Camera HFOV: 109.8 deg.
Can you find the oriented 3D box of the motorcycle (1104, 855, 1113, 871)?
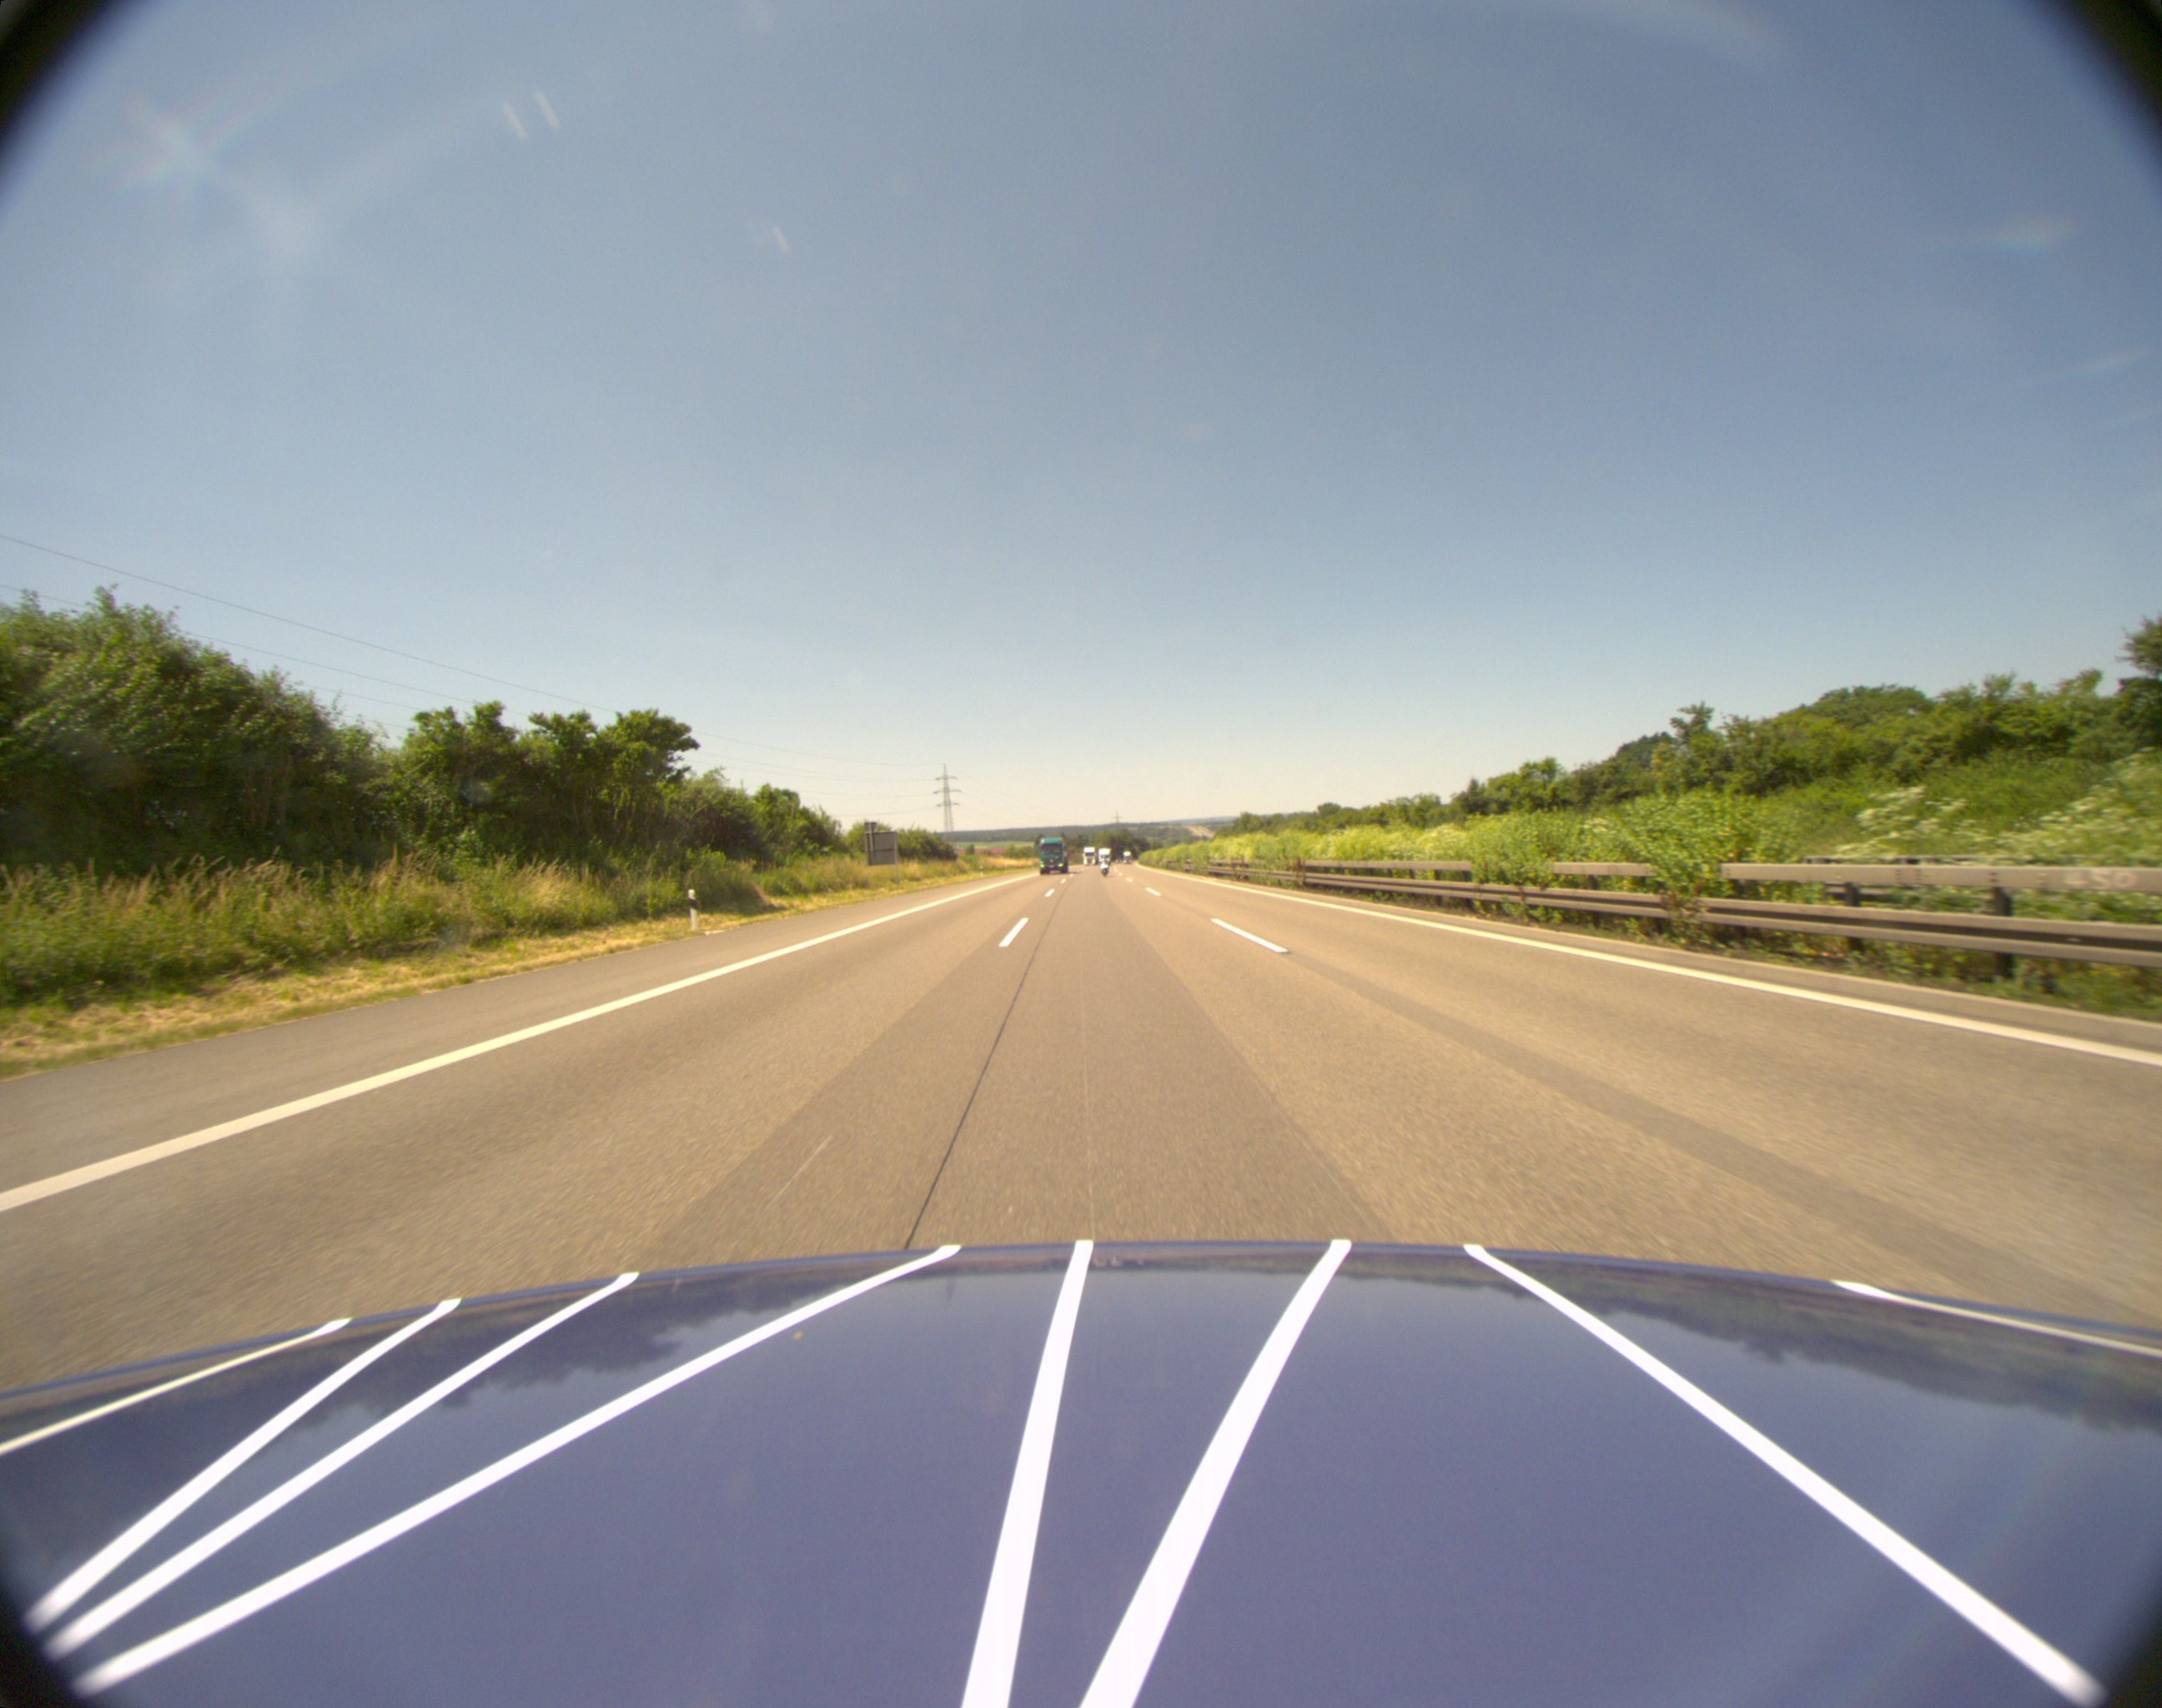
[{"bbox_3d":[2.227,0.710,61.318,0.631,1.279,2.313,-2,0,3],"label":"motorcycle"}]

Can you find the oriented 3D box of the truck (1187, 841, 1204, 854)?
[{"bbox_3d":[30.737,-1.682,205.247,2.680,3.497,17.042,-2,0,3],"label":"truck"}]

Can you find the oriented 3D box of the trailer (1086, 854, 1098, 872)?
[{"bbox_3d":[2.668,2.064,183.703,2.607,4.238,13.034,-2,0,1],"label":"trailer"}]

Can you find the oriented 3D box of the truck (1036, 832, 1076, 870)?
[{"bbox_3d":[-2.470,-0.299,81.111,2.871,3.702,12.766,-2,0,4],"label":"truck"}]

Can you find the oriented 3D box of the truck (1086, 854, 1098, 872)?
[{"bbox_3d":[2.500,2.099,175.803,2.567,4.129,6.249,-2,0,1],"label":"truck"}]

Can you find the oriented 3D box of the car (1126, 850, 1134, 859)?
[{"bbox_3d":[11.357,0.181,176.855,1.704,1.958,4.001,-2,0,3],"label":"car"}]

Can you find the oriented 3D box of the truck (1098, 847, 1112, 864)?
[{"bbox_3d":[4.765,0.229,151.030,2.512,3.268,8.107,-1,0,2],"label":"truck"}]
